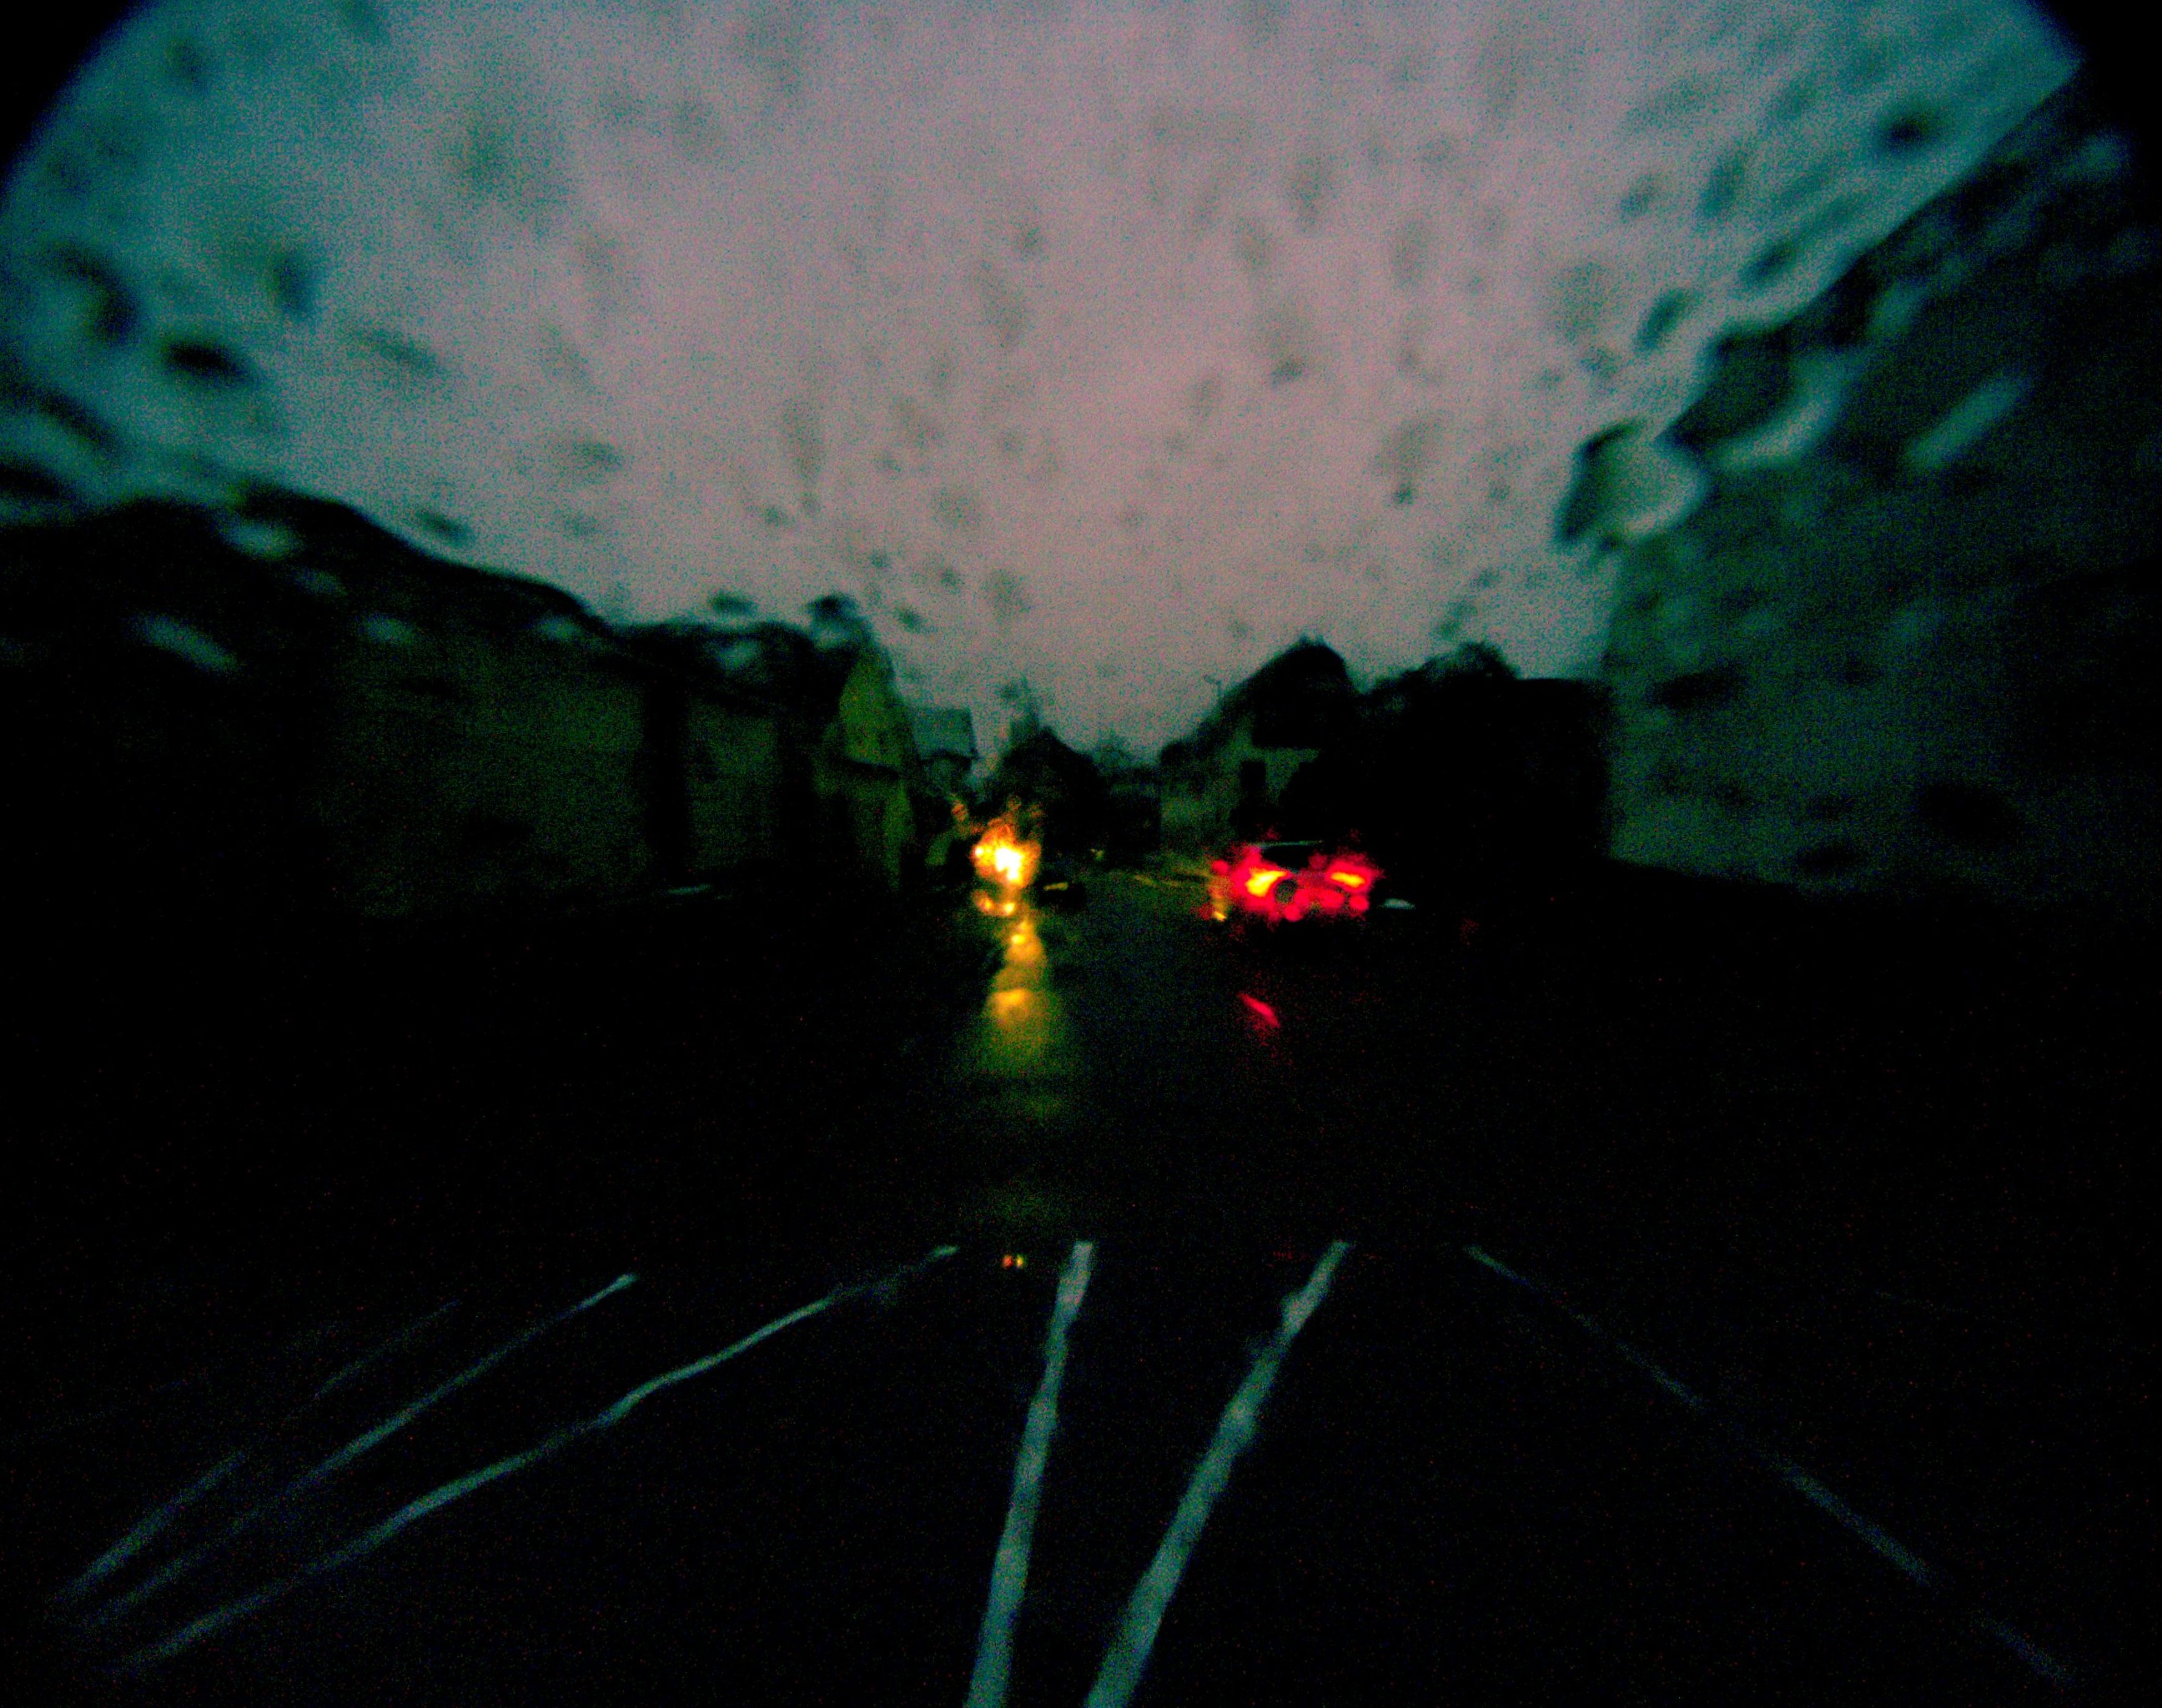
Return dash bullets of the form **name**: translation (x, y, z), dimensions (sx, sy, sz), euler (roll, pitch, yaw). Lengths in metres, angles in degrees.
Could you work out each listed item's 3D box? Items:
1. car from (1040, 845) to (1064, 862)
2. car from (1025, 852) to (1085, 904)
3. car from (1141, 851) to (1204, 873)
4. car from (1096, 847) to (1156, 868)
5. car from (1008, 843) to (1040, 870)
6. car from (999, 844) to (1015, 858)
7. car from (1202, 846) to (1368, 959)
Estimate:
- **car**: translation (-2.988, -0.036, 78.065), dimensions (2.000, 1.620, 3.996), euler (-1, 1, -8)
- **car**: translation (-0.948, 0.708, 24.820), dimensions (1.731, 1.423, 4.795), euler (-1, 1, -4)
- **car**: translation (6.399, 0.544, 53.330), dimensions (2.003, 1.417, 4.225), euler (-2, 2, -37)
- **car**: translation (3.599, 0.252, 61.150), dimensions (4.481, 1.570, 1.998), euler (-1, 1, -9)
- **car**: translation (-4.577, 0.186, 60.435), dimensions (2.000, 2.002, 3.995), euler (-2, 1, -12)
- **car**: translation (-8.591, -0.353, 88.302), dimensions (1.765, 1.489, 3.997), euler (-2, 1, -4)
- **car**: translation (3.286, 0.679, 13.030), dimensions (1.762, 1.572, 3.999), euler (-1, 1, 0)
